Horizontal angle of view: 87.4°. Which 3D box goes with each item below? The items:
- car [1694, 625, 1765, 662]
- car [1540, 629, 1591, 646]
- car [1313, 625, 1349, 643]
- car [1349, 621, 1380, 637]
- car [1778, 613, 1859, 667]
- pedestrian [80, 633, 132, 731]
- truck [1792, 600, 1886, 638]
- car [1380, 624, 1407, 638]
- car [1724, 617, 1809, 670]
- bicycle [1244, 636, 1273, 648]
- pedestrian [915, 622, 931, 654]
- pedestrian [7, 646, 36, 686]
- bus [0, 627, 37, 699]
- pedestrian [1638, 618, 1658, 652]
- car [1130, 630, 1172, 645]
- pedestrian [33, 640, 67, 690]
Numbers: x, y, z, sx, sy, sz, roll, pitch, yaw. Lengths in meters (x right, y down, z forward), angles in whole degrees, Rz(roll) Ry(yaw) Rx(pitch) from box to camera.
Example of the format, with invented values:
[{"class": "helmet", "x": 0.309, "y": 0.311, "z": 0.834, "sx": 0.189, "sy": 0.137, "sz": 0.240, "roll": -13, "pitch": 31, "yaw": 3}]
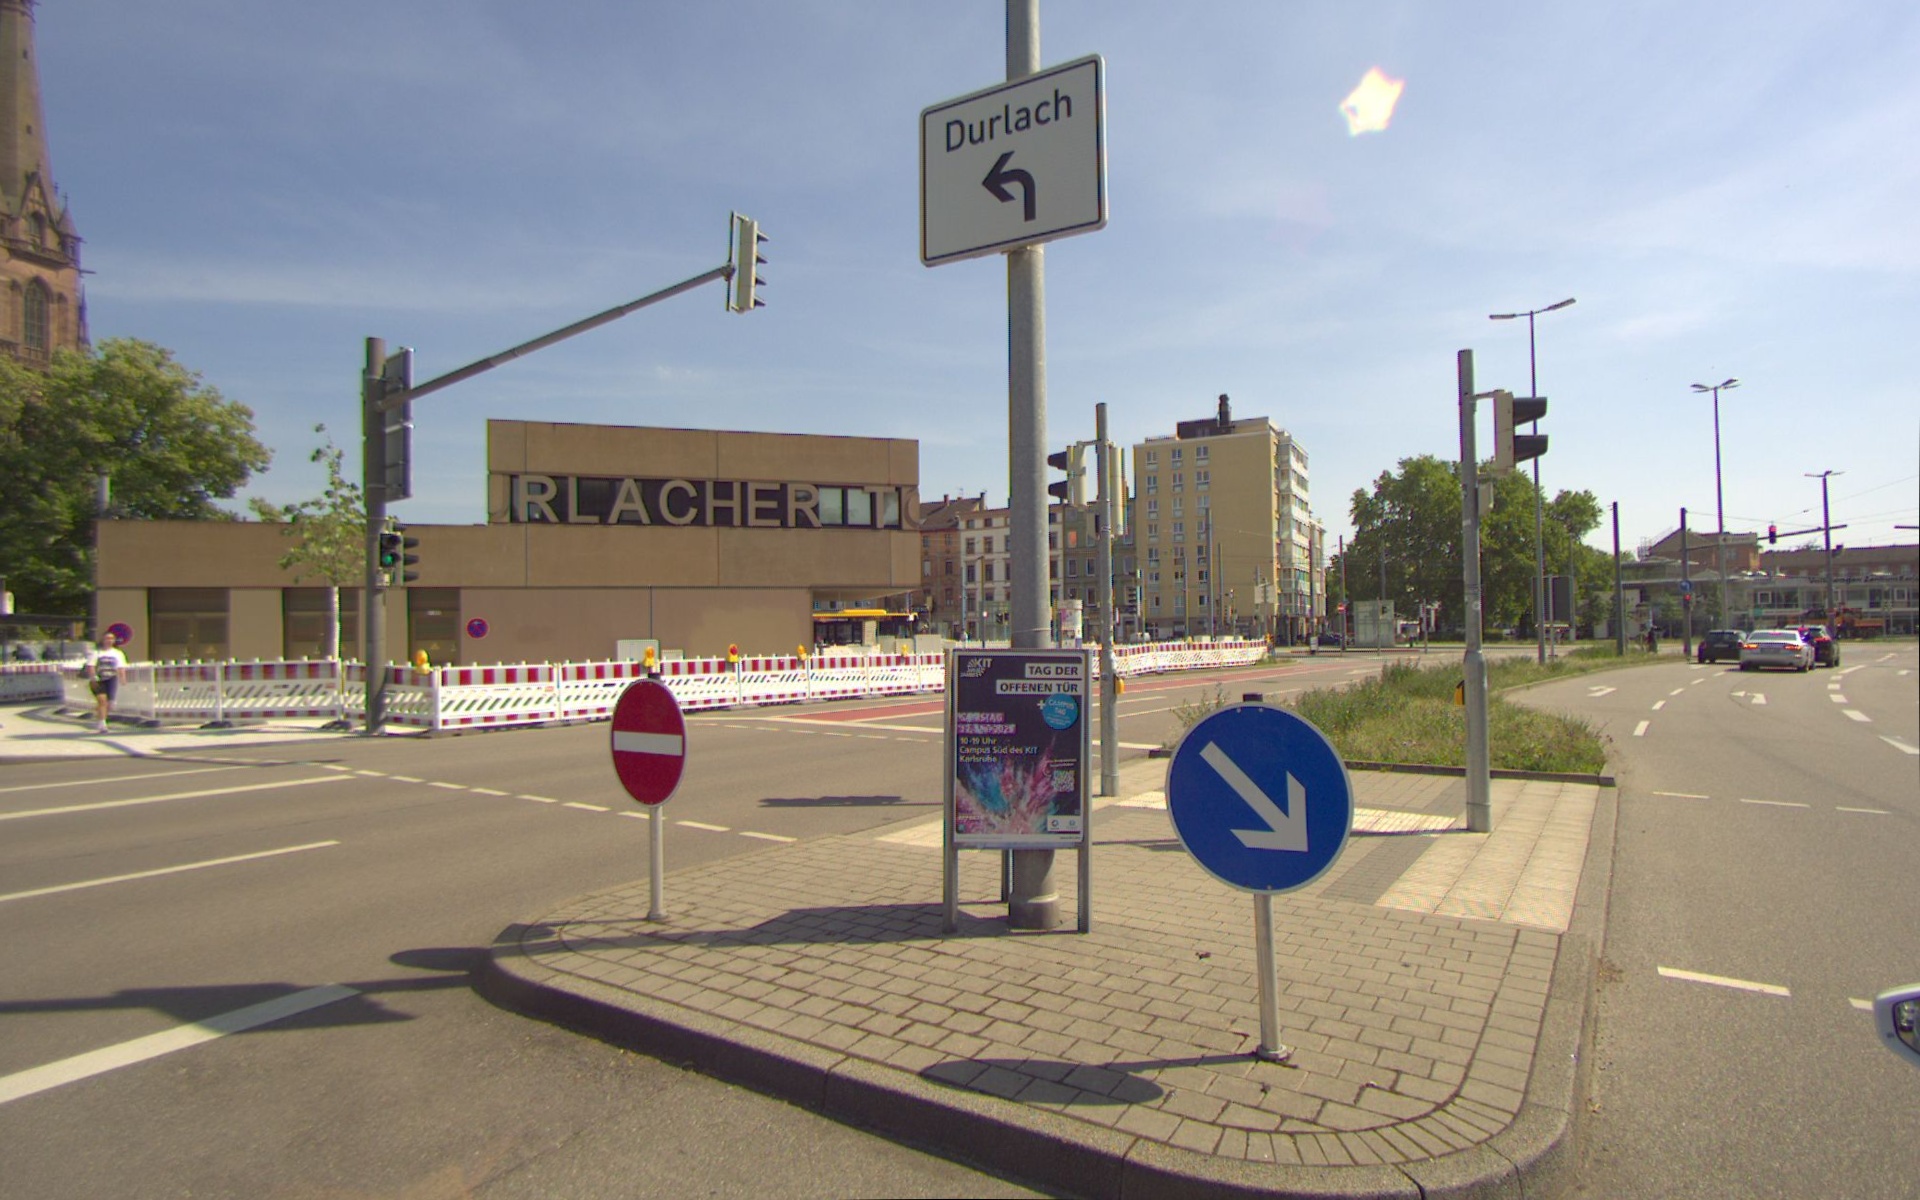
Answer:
[{"class": "car", "x": 33.146, "y": 1.850, "z": 43.251, "sx": 3.971, "sy": 1.530, "sz": 1.778, "roll": 1, "pitch": -3, "yaw": -43}, {"class": "car", "x": 55.768, "y": 3.468, "z": 92.554, "sx": 3.927, "sy": 1.530, "sz": 1.798, "roll": -1, "pitch": -2, "yaw": 28}, {"class": "car", "x": 43.626, "y": 3.982, "z": 118.067, "sx": 3.922, "sy": 2.040, "sz": 1.999, "roll": -2, "pitch": 0, "yaw": 22}, {"class": "car", "x": 57.330, "y": 4.099, "z": 142.444, "sx": 3.922, "sy": 2.040, "sz": 1.999, "roll": -2, "pitch": 0, "yaw": 22}, {"class": "car", "x": 34.634, "y": 1.593, "z": 40.485, "sx": 3.971, "sy": 2.040, "sz": 1.975, "roll": 1, "pitch": -3, "yaw": -43}, {"class": "pedestrian", "x": -14.132, "y": 1.345, "z": 16.623, "sx": 0.416, "sy": 1.585, "sz": 0.556, "roll": -2, "pitch": -2, "yaw": 34}, {"class": "truck", "x": 89.490, "y": 1.953, "z": 102.321, "sx": 7.790, "sy": 3.779, "sz": 3.068, "roll": 0, "pitch": -2, "yaw": -12}, {"class": "car", "x": 69.003, "y": 4.942, "z": 159.962, "sx": 3.922, "sy": 2.040, "sz": 1.999, "roll": -2, "pitch": 0, "yaw": 22}, {"class": "car", "x": 29.386, "y": 1.557, "z": 36.549, "sx": 1.974, "sy": 1.839, "sz": 3.975, "roll": -2, "pitch": -3, "yaw": 45}, {"class": "bicycle", "x": 32.003, "y": 4.523, "z": 107.710, "sx": 2.770, "sy": 1.238, "sz": 0.993, "roll": -2, "pitch": 0, "yaw": 24}, {"class": "pedestrian", "x": -1.921, "y": 1.987, "z": 52.399, "sx": 0.642, "sy": 1.683, "sz": 0.645, "roll": 0, "pitch": -2, "yaw": -28}, {"class": "pedestrian", "x": -39.986, "y": 2.796, "z": 42.798, "sx": 0.736, "sy": 1.683, "sz": 0.814, "roll": 0, "pitch": -3, "yaw": -31}, {"class": "bus", "x": -48.186, "y": 2.963, "z": 43.137, "sx": 12.220, "sy": 3.135, "sz": 3.120, "roll": -2, "pitch": 0, "yaw": -19}, {"class": "pedestrian", "x": 34.202, "y": 1.730, "z": 49.952, "sx": 0.658, "sy": 1.683, "sz": 0.643, "roll": 1, "pitch": -2, "yaw": -39}, {"class": "car", "x": 19.835, "y": 3.901, "z": 104.523, "sx": 3.927, "sy": 1.530, "sz": 1.798, "roll": 0, "pitch": -2, "yaw": -9}, {"class": "pedestrian", "x": -37.930, "y": 2.687, "z": 41.892, "sx": 0.674, "sy": 2.040, "sz": 0.820, "roll": -1, "pitch": -2, "yaw": -8}]
